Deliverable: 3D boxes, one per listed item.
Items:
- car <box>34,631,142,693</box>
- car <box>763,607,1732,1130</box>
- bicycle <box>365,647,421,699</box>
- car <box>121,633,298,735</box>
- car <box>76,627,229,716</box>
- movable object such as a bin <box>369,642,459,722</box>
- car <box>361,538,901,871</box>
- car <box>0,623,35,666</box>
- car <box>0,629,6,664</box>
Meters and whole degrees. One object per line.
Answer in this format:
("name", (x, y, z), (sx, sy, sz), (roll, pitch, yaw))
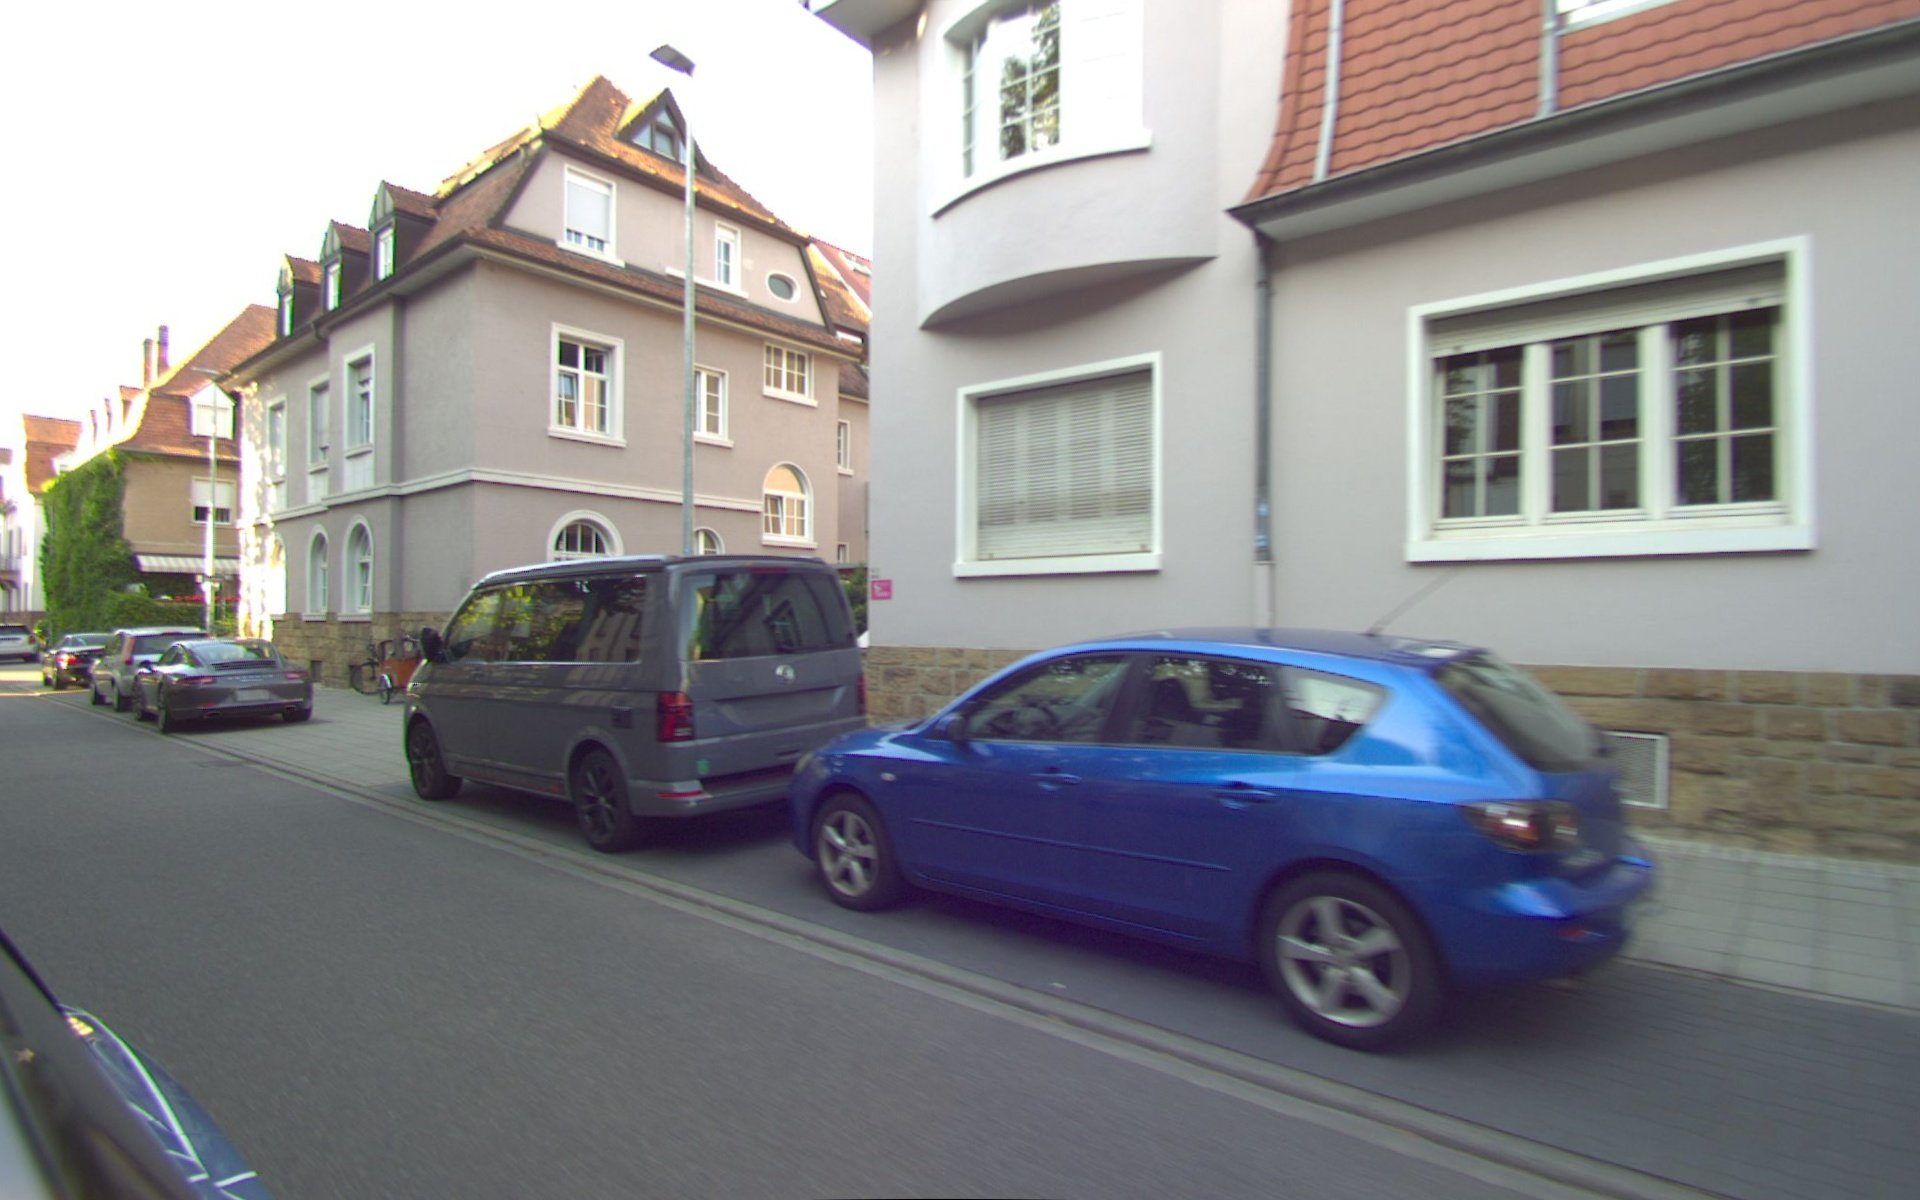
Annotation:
("car", (-21.597, 1.472, 25.004), (4.046, 1.334, 1.635), (-1, 0, 44))
("car", (1.007, 0.813, 4.918), (4.236, 1.458, 1.636), (-2, 0, 42))
("bicycle", (-10.856, 1.379, 19.357), (1.721, 0.944, 0.389), (-2, -2, 42))
("car", (-11.615, 1.201, 15.554), (4.227, 1.329, 1.514), (-2, -2, 44))
("car", (-15.282, 1.265, 19.074), (3.959, 1.456, 1.636), (-2, -1, 42))
("movable object such as a bin", (-9.628, 1.405, 17.819), (2.095, 1.293, 0.714), (-2, -2, 42))
("car", (-2.921, 0.661, 8.295), (4.848, 1.962, 1.962), (-2, -1, 41))
("car", (-34.825, 1.595, 36.617), (3.917, 1.471, 1.686), (-2, -1, 43))
("car", (-40.112, 1.899, 41.117), (3.719, 1.390, 1.669), (-2, -1, 42))
